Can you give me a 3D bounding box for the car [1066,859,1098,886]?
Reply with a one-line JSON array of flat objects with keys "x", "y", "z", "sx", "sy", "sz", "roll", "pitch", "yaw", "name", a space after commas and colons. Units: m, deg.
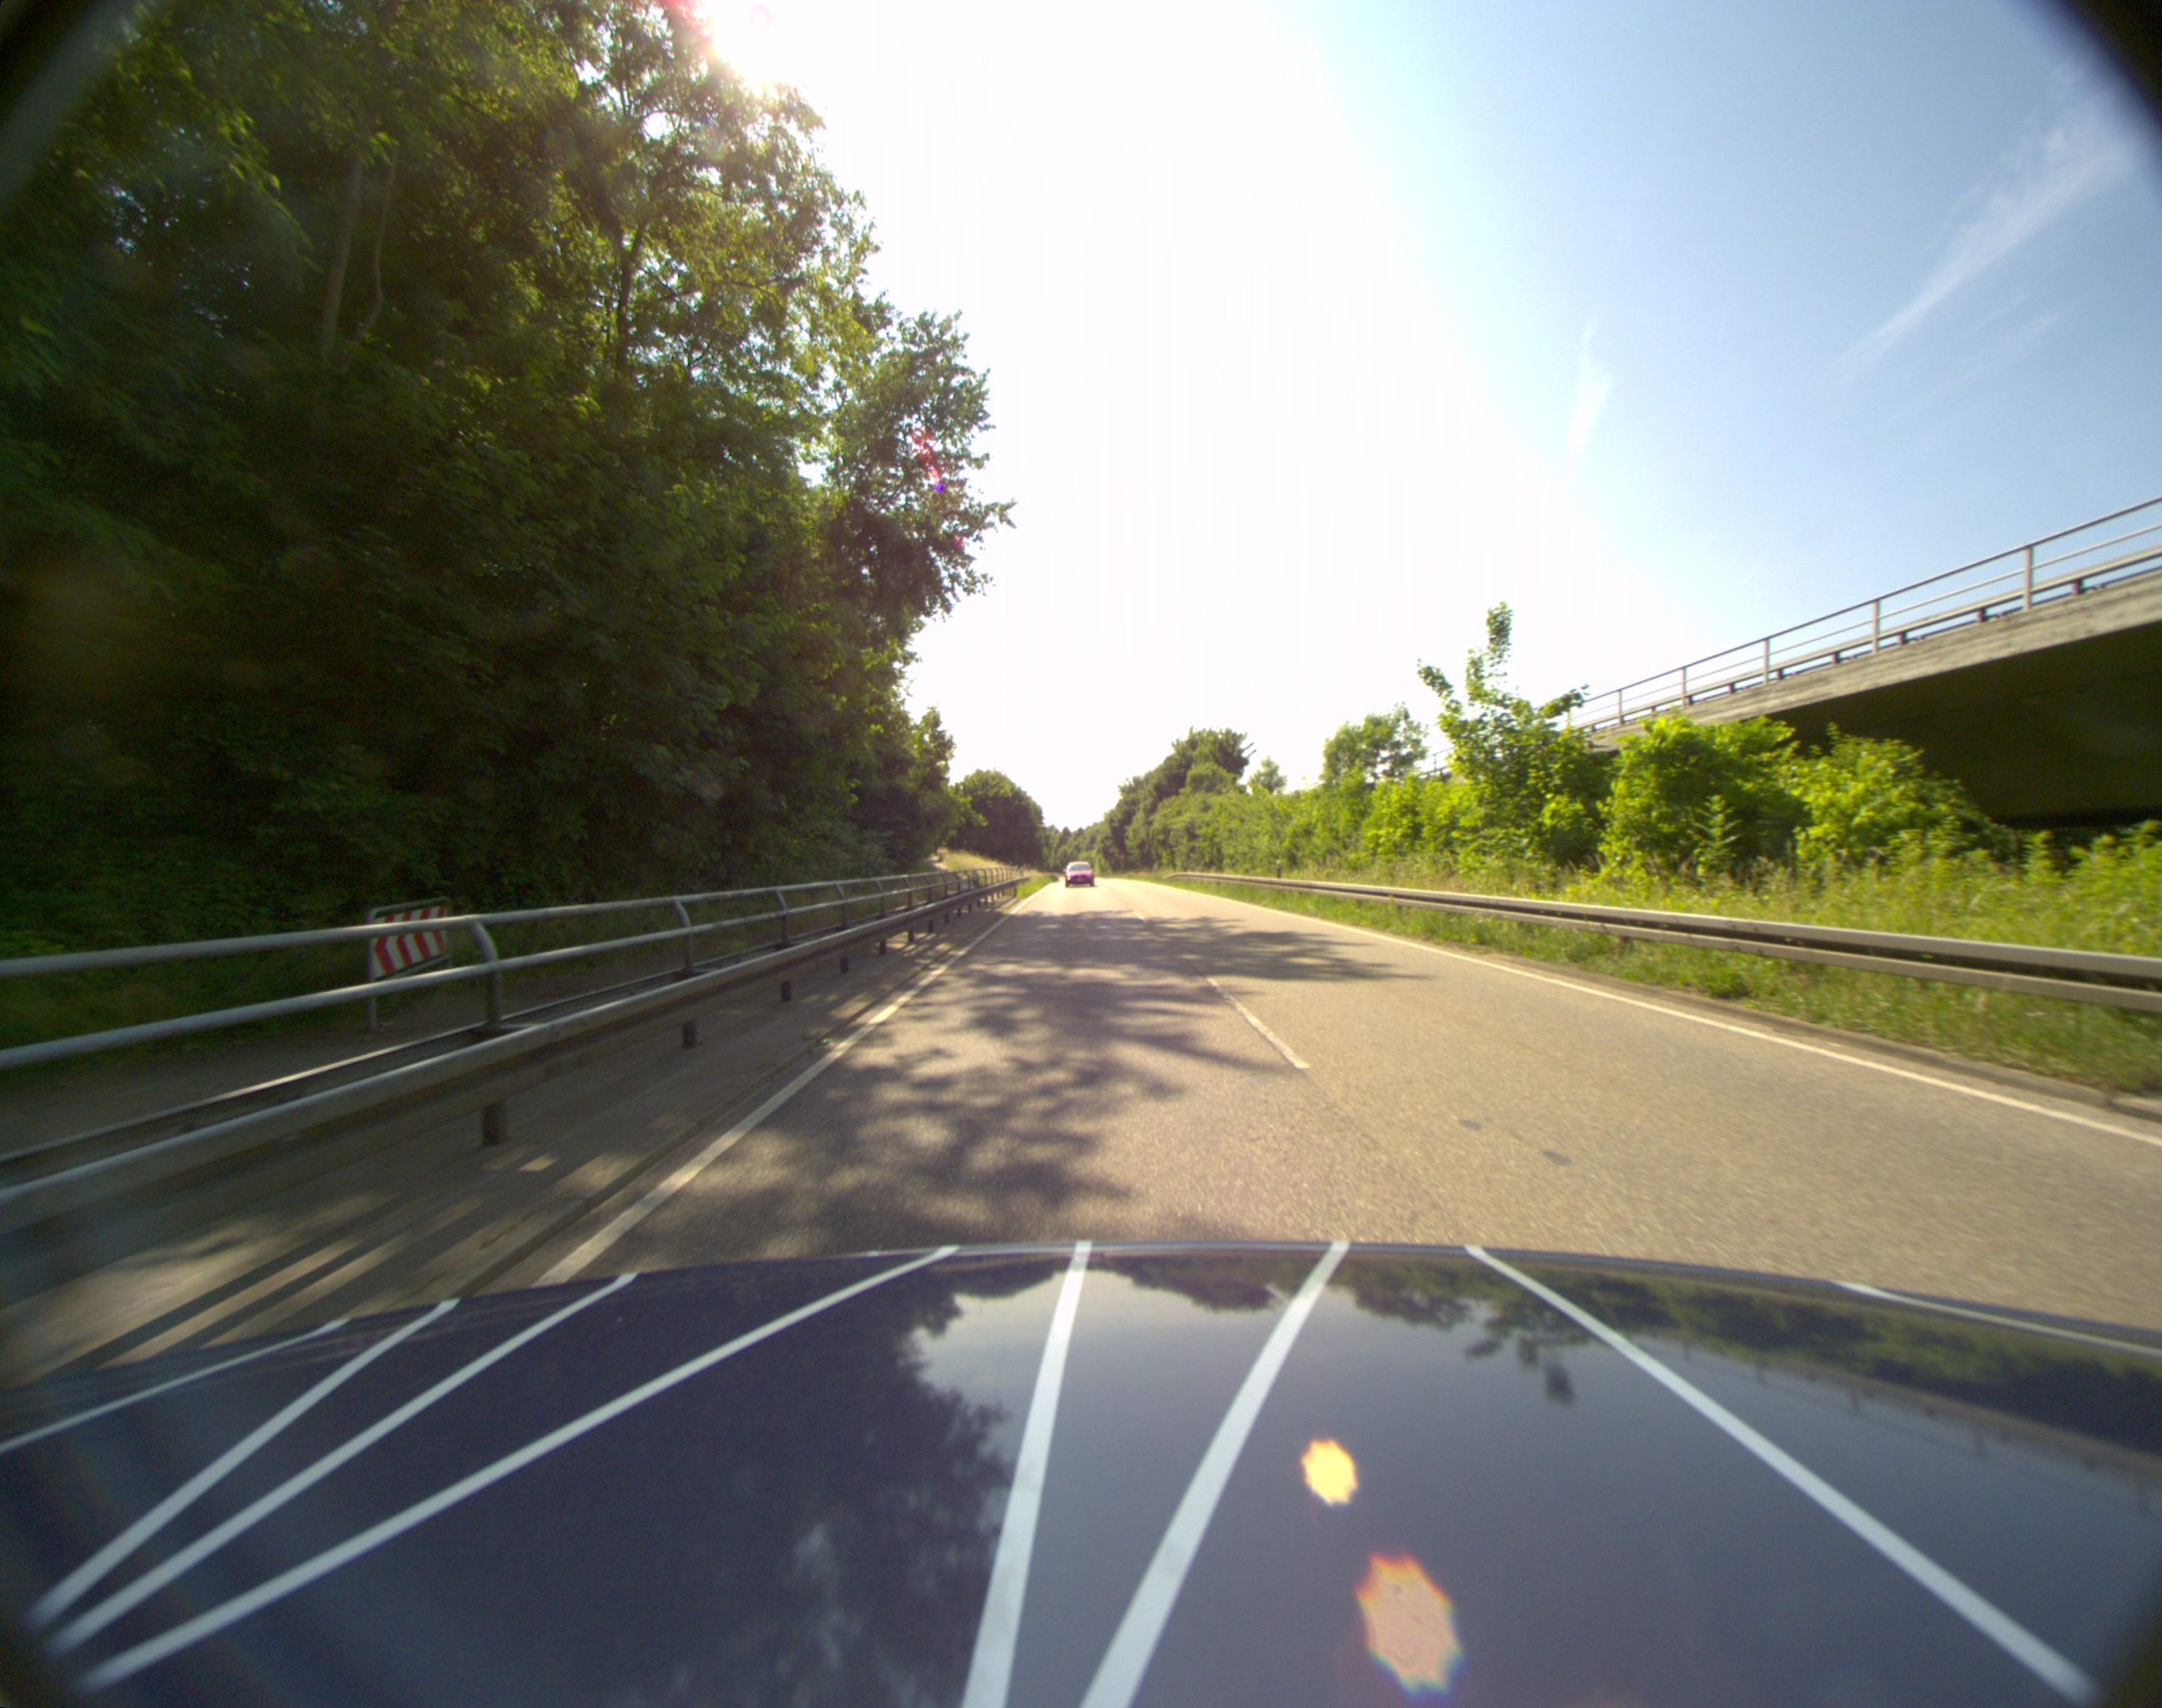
[{"x": 0.008, "y": 1.100, "z": 46.797, "sx": 1.817, "sy": 1.488, "sz": 4.284, "roll": -1, "pitch": 0, "yaw": -2, "name": "car"}]
